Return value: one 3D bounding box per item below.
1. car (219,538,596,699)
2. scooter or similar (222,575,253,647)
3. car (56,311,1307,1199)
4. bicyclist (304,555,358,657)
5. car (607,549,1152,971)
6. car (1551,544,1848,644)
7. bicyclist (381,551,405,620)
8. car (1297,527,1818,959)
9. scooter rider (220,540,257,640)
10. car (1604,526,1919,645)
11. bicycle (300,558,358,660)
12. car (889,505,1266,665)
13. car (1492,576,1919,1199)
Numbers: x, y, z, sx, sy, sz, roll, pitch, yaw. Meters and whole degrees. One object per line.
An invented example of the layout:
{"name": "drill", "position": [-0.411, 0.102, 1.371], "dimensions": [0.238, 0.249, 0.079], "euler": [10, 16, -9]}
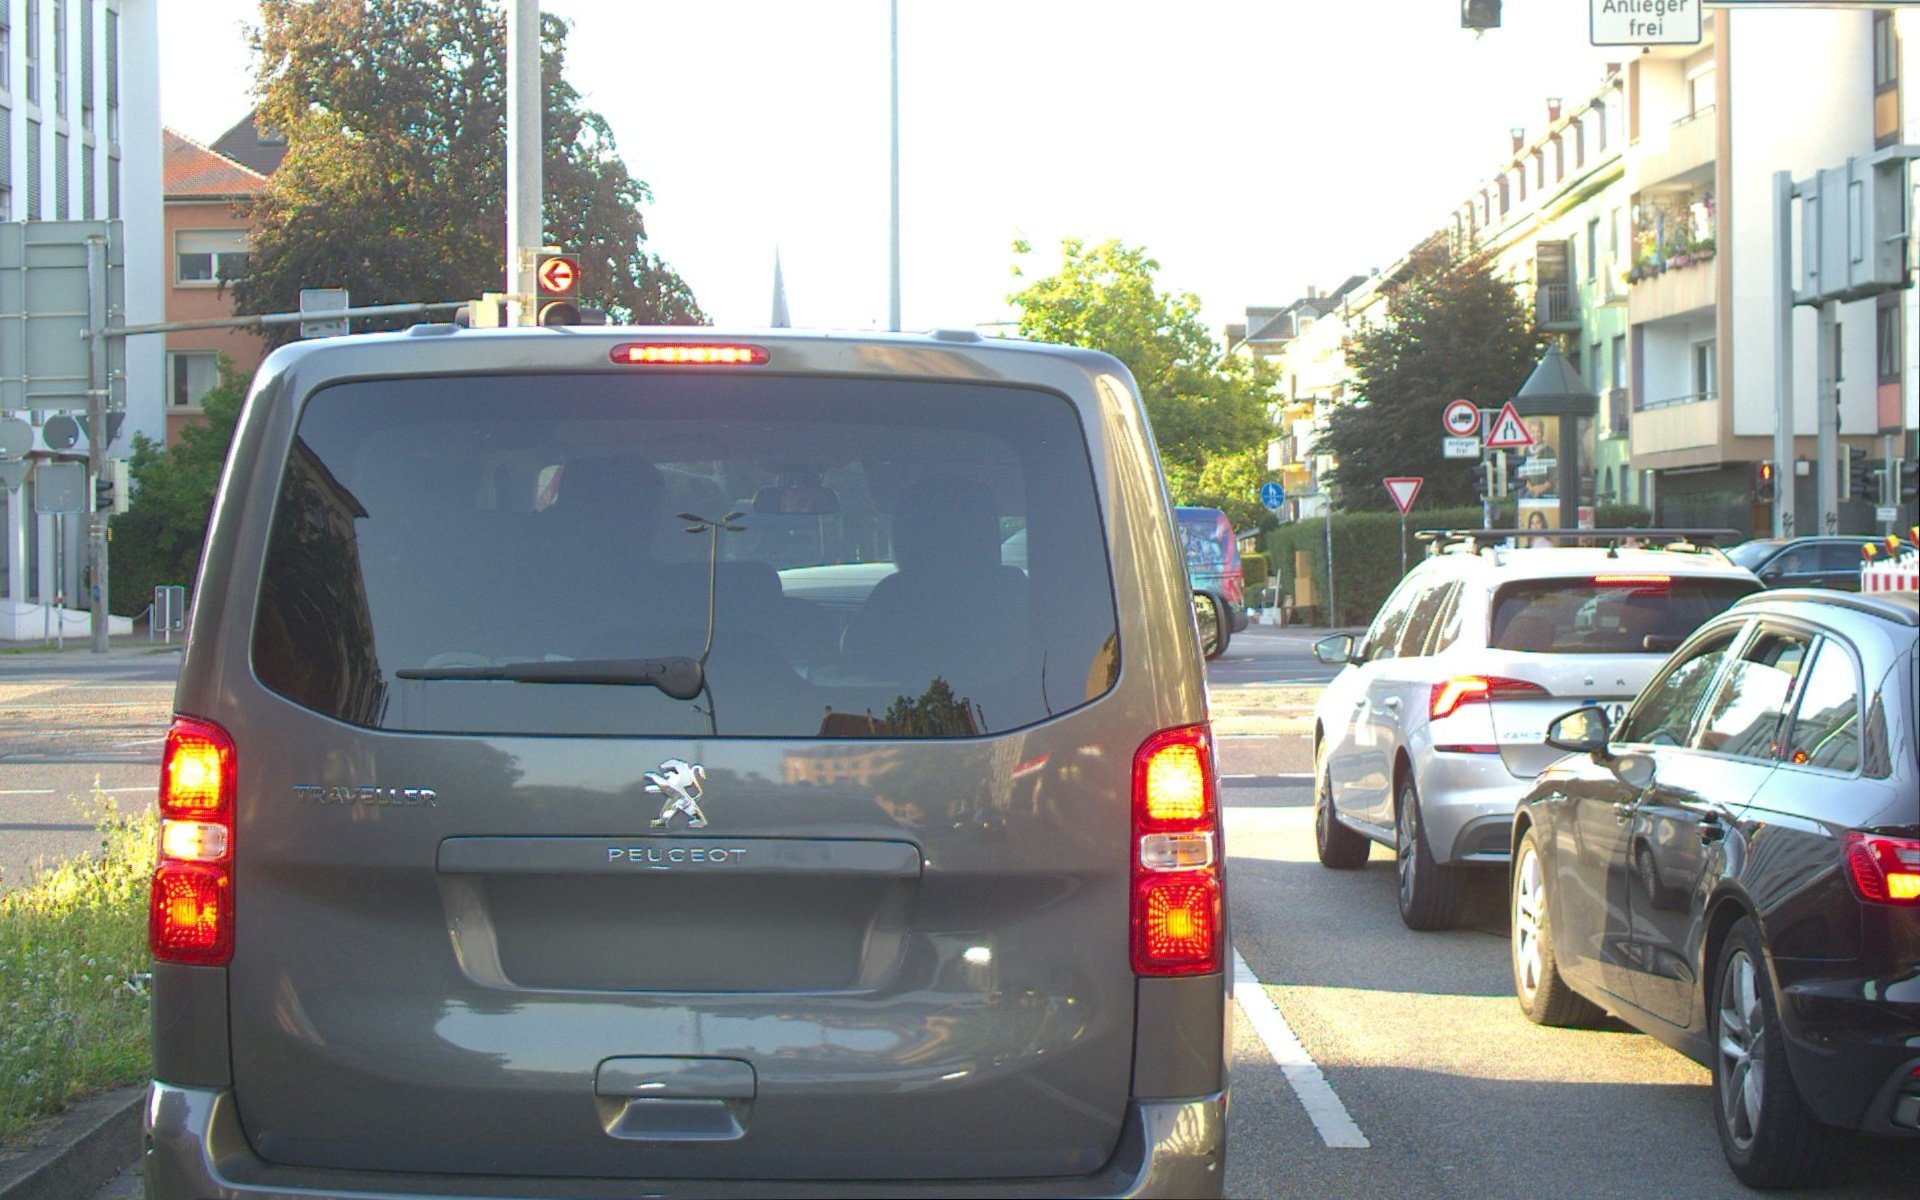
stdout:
{"name": "car", "position": [-5.161, 0.145, 32.559], "dimensions": [1.693, 1.383, 3.681], "euler": [-1, 1, 26]}
{"name": "scooter or similar", "position": [-12.257, 0.182, 58.329], "dimensions": [0.285, 1.184, 1.169], "euler": [0, 1, -1]}
{"name": "car", "position": [-0.461, 0.462, 7.569], "dimensions": [1.907, 1.857, 4.527], "euler": [1, 1, -1]}
{"name": "bicyclist", "position": [-12.611, 0.112, 68.976], "dimensions": [0.834, 2.007, 1.064], "euler": [1, 0, 1]}
{"name": "car", "position": [-0.319, 0.560, 14.633], "dimensions": [1.993, 1.525, 4.000], "euler": [0, 1, -1]}
{"name": "car", "position": [10.466, -0.097, 48.769], "dimensions": [3.781, 1.368, 1.651], "euler": [-1, 1, -6]}
{"name": "bicyclist", "position": [-12.592, -0.326, 76.363], "dimensions": [0.462, 1.516, 0.469], "euler": [0, 1, -1]}
{"name": "car", "position": [2.441, 0.509, 14.870], "dimensions": [1.528, 1.608, 3.745], "euler": [1, 1, -1]}
{"name": "scooter rider", "position": [-12.253, -0.171, 58.371], "dimensions": [0.481, 1.691, 0.636], "euler": [0, 1, -1]}
{"name": "car", "position": [10.553, -0.206, 44.053], "dimensions": [4.227, 1.437, 1.703], "euler": [-1, 1, -18]}
{"name": "bicycle", "position": [-12.644, 0.160, 68.960], "dimensions": [0.715, 2.007, 2.564], "euler": [0, 1, -1]}
{"name": "car", "position": [1.439, -0.219, 41.174], "dimensions": [4.217, 1.811, 1.999], "euler": [-1, 1, -39]}
{"name": "car", "position": [2.627, 0.679, 9.191], "dimensions": [1.681, 1.416, 4.214], "euler": [1, 1, -1]}
